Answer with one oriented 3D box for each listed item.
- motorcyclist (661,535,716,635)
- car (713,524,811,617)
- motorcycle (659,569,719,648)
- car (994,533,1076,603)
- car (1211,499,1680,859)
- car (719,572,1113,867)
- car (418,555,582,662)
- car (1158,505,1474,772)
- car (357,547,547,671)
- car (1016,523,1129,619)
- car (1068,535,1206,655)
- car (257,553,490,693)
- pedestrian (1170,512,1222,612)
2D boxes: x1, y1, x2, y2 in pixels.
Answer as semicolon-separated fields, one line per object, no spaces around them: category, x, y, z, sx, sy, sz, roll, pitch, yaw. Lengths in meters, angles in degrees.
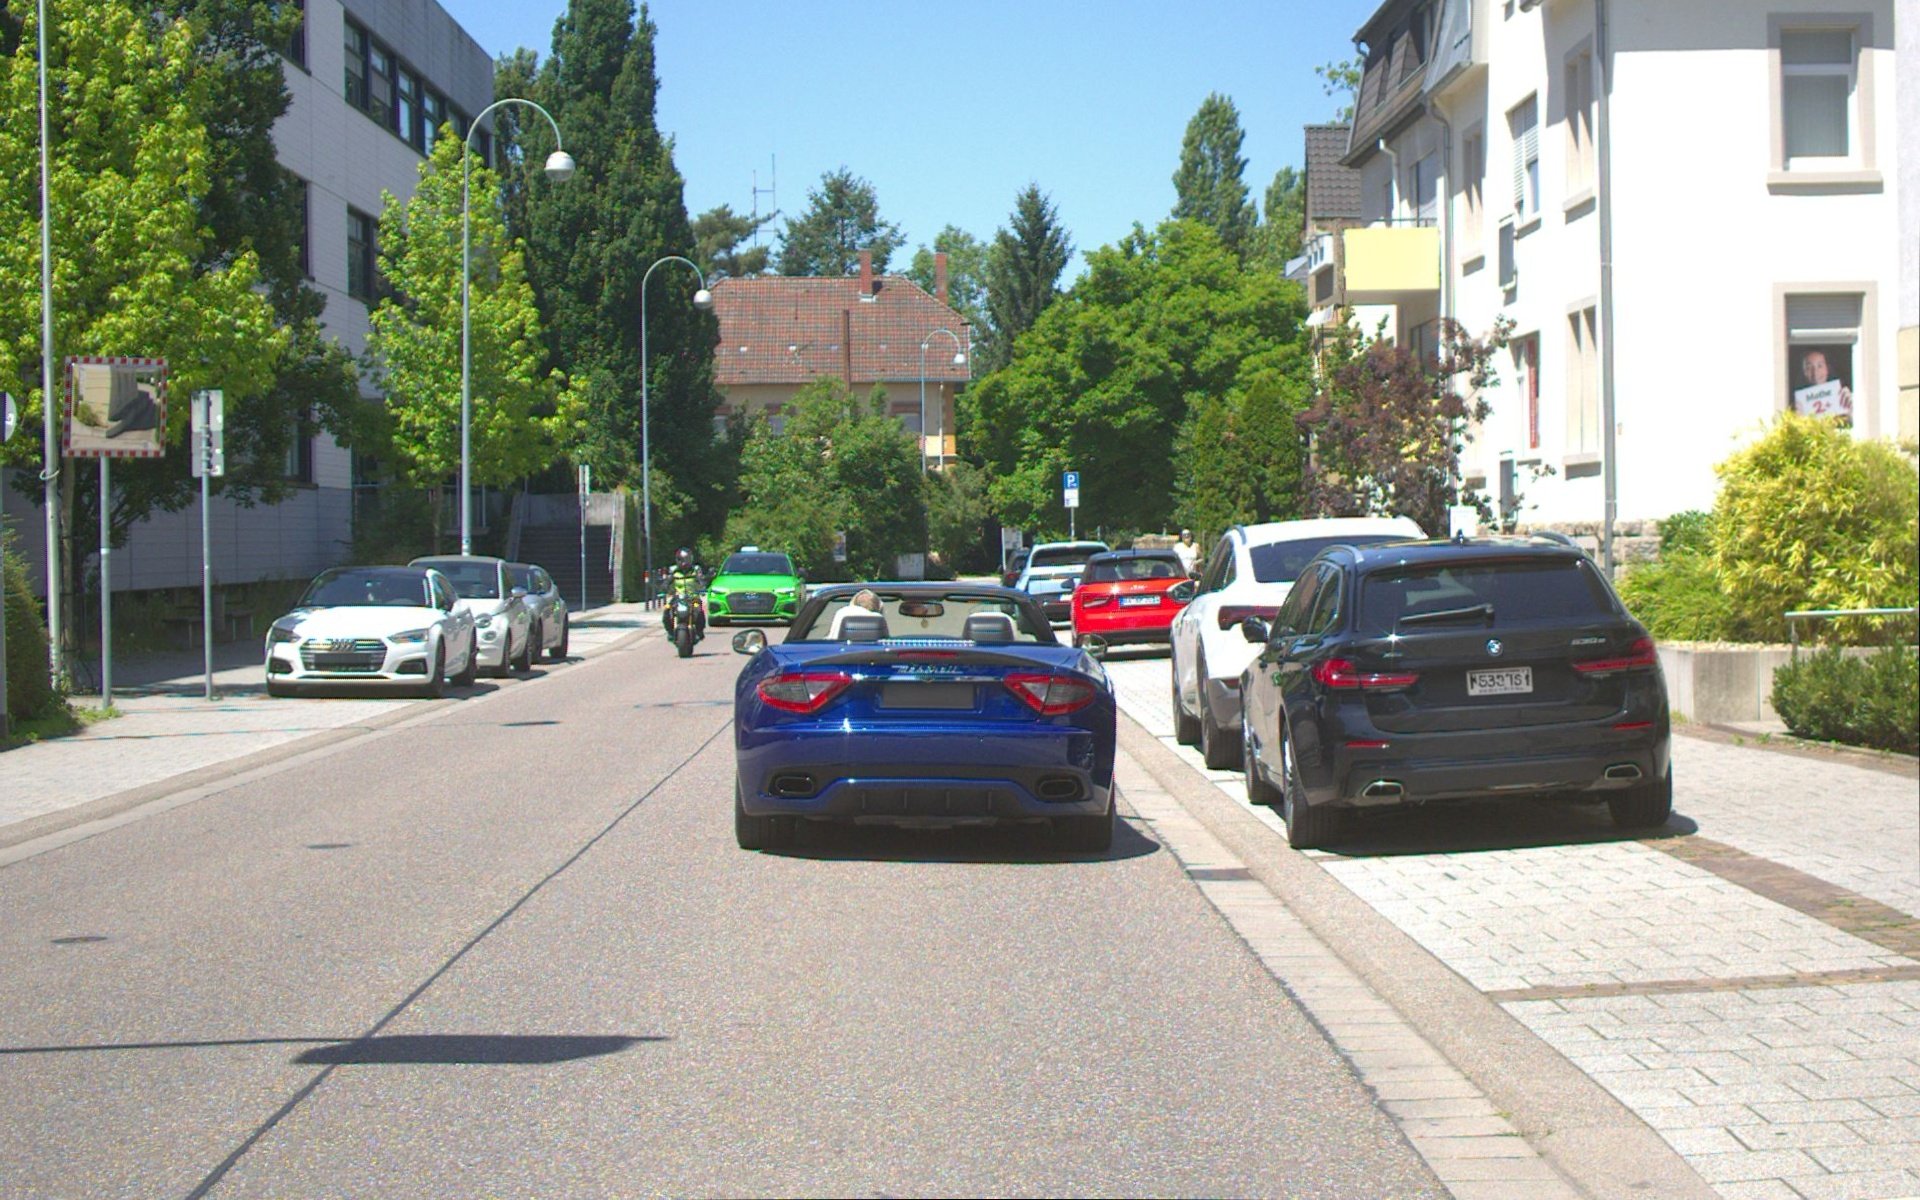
motorcyclist;-3.972;-0.219;50.309;0.699;1.428;0.707;-2;1;0
car;-3.867;-0.618;67.669;1.822;1.583;4.101;-1;3;-2
motorcycle;-3.974;0.110;50.492;0.699;1.103;1.790;-2;1;0
car;1.662;-0.751;77.250;1.631;1.441;4.398;-3;1;-1
car;2.425;0.323;18.311;1.705;1.551;4.748;-4;1;0
car;-0.230;0.541;18.480;1.826;1.332;4.700;1;1;-1
car;-6.488;0.090;48.844;1.748;1.404;3.933;-1;1;1
car;2.429;0.207;24.469;1.705;1.660;4.580;-2;1;0
car;-6.444;0.077;43.996;1.822;1.507;4.290;0;1;0
car;2.018;-0.550;62.689;1.843;1.614;4.427;-2;1;0
car;2.317;-0.099;45.839;1.603;1.436;3.853;-3;1;1
car;-6.464;0.211;38.342;1.822;1.406;4.577;1;1;0
pedestrian;4.046;-0.655;59.010;0.740;1.664;0.706;-3;1;-2
